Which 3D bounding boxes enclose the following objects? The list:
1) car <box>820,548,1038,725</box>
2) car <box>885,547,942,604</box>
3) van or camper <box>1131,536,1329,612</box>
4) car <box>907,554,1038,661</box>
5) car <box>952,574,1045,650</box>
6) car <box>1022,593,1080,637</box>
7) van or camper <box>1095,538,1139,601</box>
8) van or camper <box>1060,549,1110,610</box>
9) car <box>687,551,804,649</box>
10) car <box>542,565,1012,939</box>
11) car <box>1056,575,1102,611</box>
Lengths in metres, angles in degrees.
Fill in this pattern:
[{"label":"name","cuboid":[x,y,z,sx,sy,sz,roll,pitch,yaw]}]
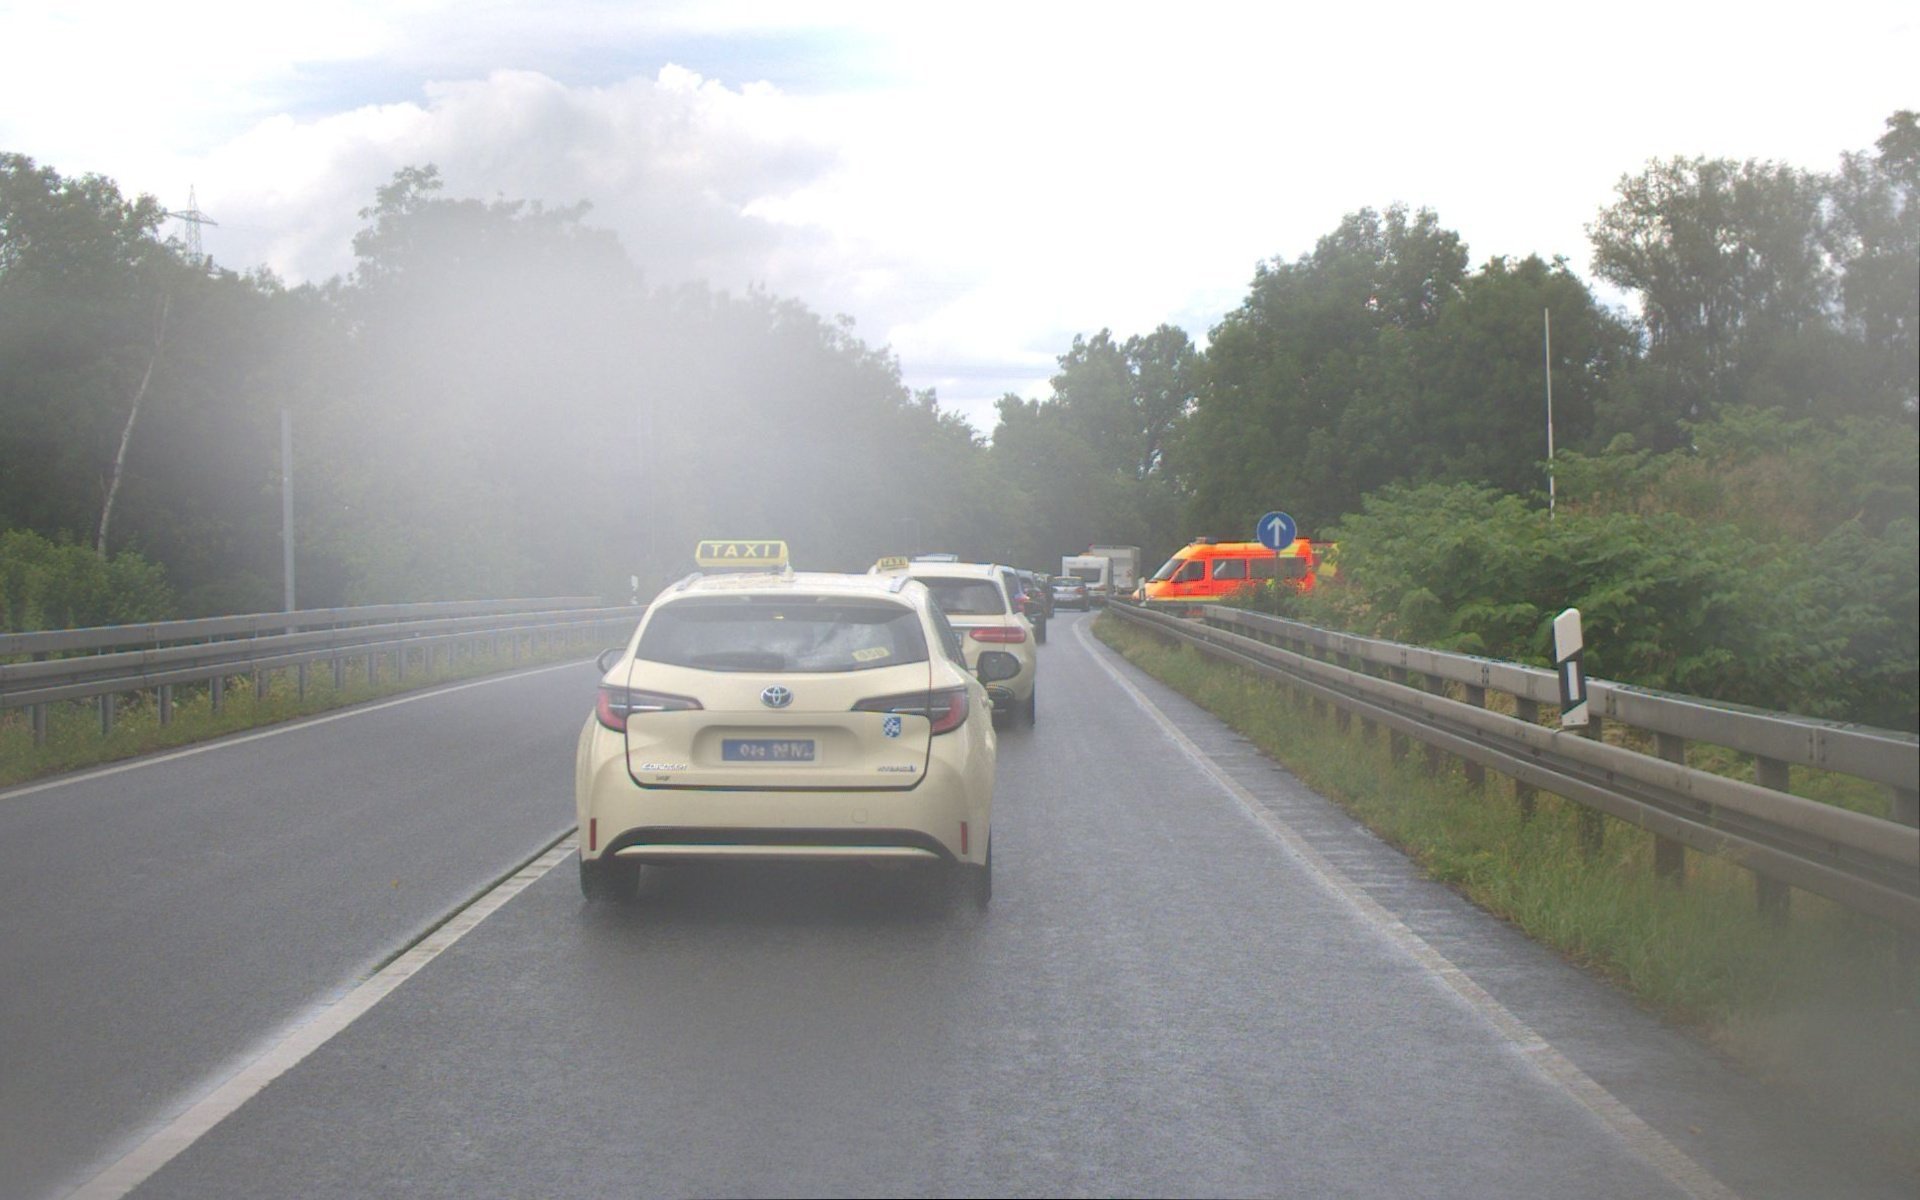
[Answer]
[{"label":"car","cuboid":[-0.277,0.286,31.701,1.854,1.438,4.171,1,2,0]},{"label":"car","cuboid":[-1.770,-0.963,132.378,1.993,2.121,4.895,1,1,1]},{"label":"van or camper","cuboid":[8.299,-0.803,105.630,5.676,2.234,2.021,1,1,-14]},{"label":"car","cuboid":[0.170,0.079,51.135,1.854,1.438,4.171,1,2,0]},{"label":"car","cuboid":[0.774,0.223,71.866,1.854,1.438,4.171,1,2,0]},{"label":"car","cuboid":[3.213,0.513,120.328,1.854,1.438,4.170,1,1,3]},{"label":"van or camper","cuboid":[9.024,-1.781,198.035,2.333,3.550,6.306,1,1,1]},{"label":"van or camper","cuboid":[6.127,-1.038,169.622,2.333,2.854,6.306,1,1,1]},{"label":"car","cuboid":[-3.633,-0.034,58.738,1.779,1.556,4.302,1,1,-1]},{"label":"car","cuboid":[-0.741,0.586,15.793,1.854,1.389,4.171,1,2,0]},{"label":"car","cuboid":[5.090,-0.314,146.740,1.854,1.438,4.170,1,1,3]}]
